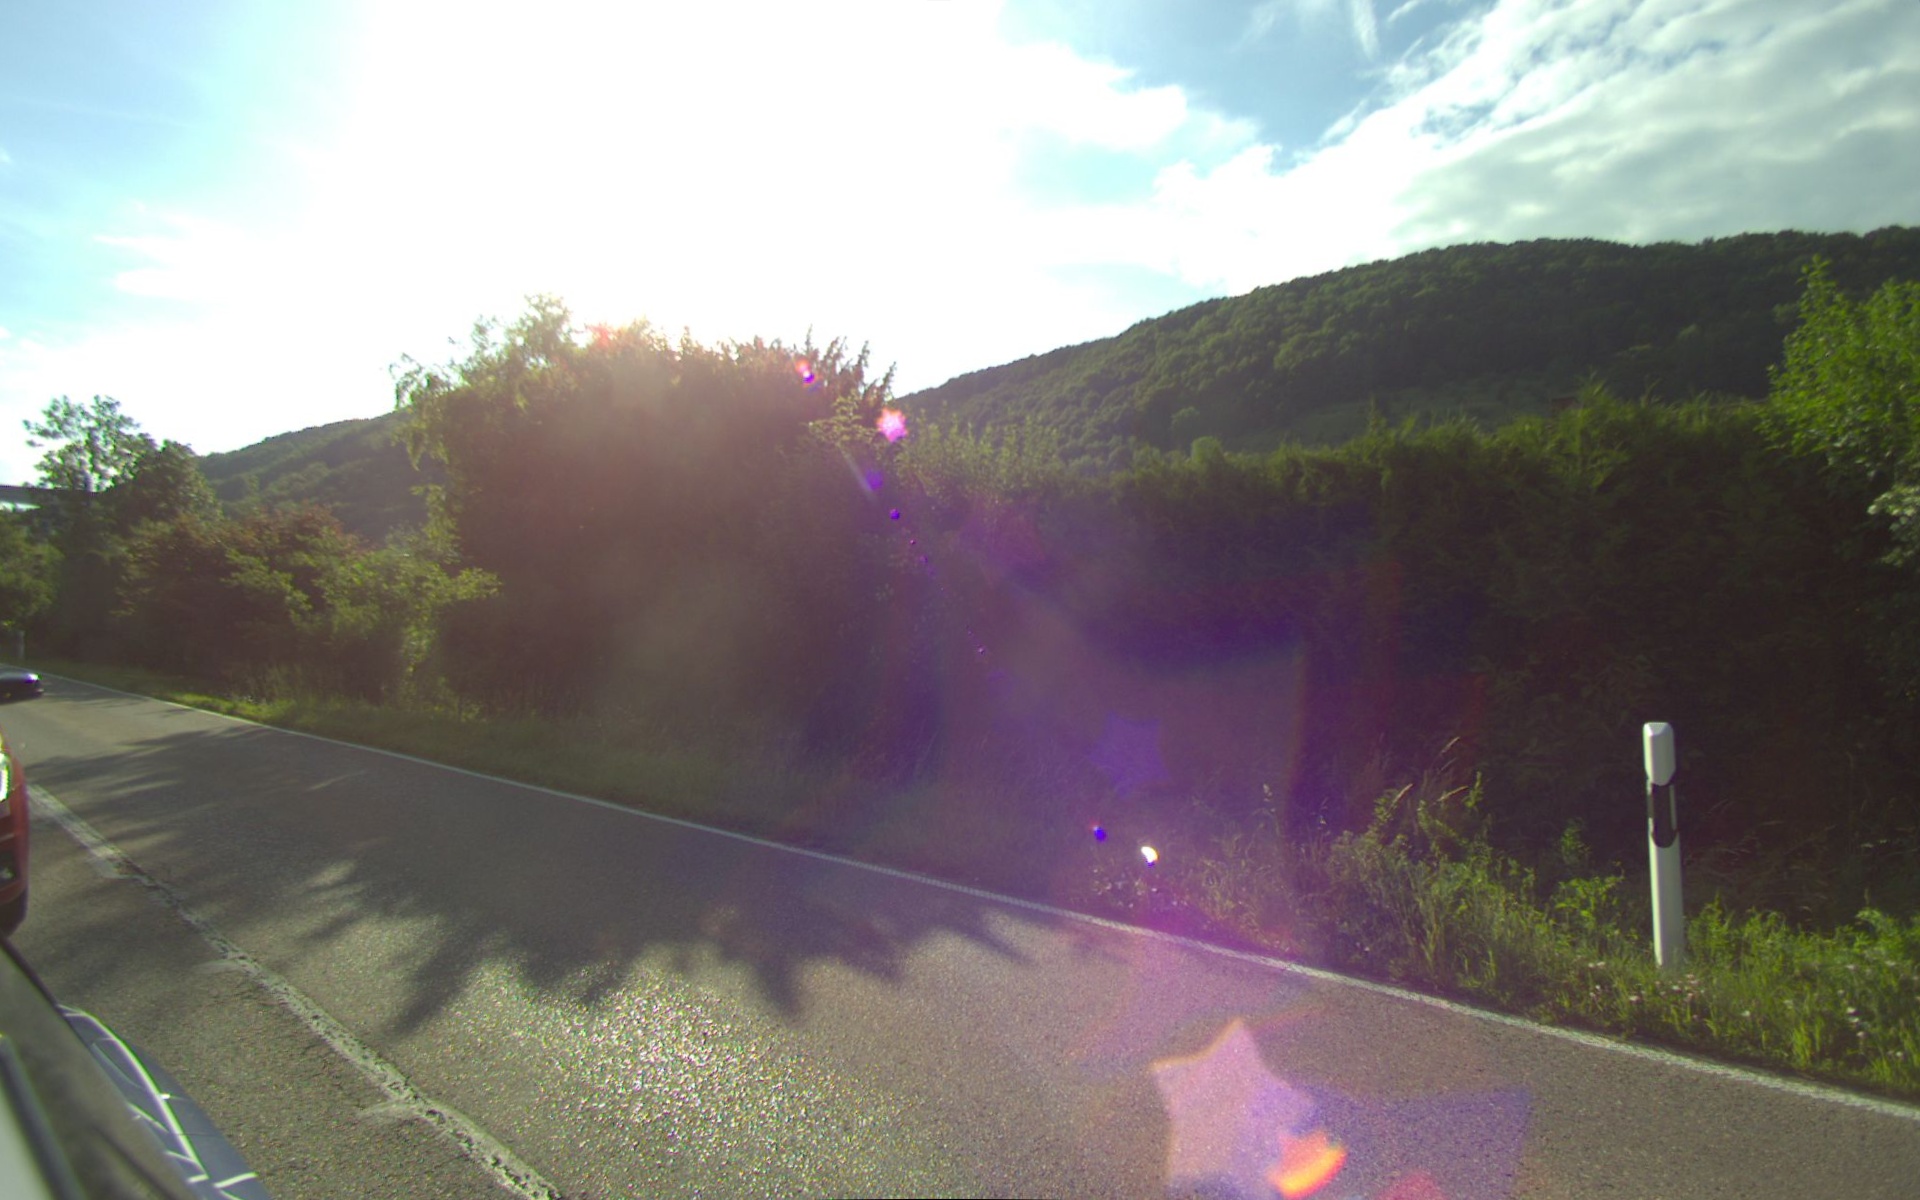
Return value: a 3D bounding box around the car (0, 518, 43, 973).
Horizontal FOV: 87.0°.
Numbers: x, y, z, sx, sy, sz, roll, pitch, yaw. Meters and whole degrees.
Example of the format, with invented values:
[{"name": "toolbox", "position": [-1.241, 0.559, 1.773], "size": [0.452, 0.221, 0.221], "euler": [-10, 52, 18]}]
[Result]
[{"name": "car", "position": [-5.951, 0.628, 4.907], "size": [4.286, 1.823, 1.731], "euler": [-1, 1, 41]}]
